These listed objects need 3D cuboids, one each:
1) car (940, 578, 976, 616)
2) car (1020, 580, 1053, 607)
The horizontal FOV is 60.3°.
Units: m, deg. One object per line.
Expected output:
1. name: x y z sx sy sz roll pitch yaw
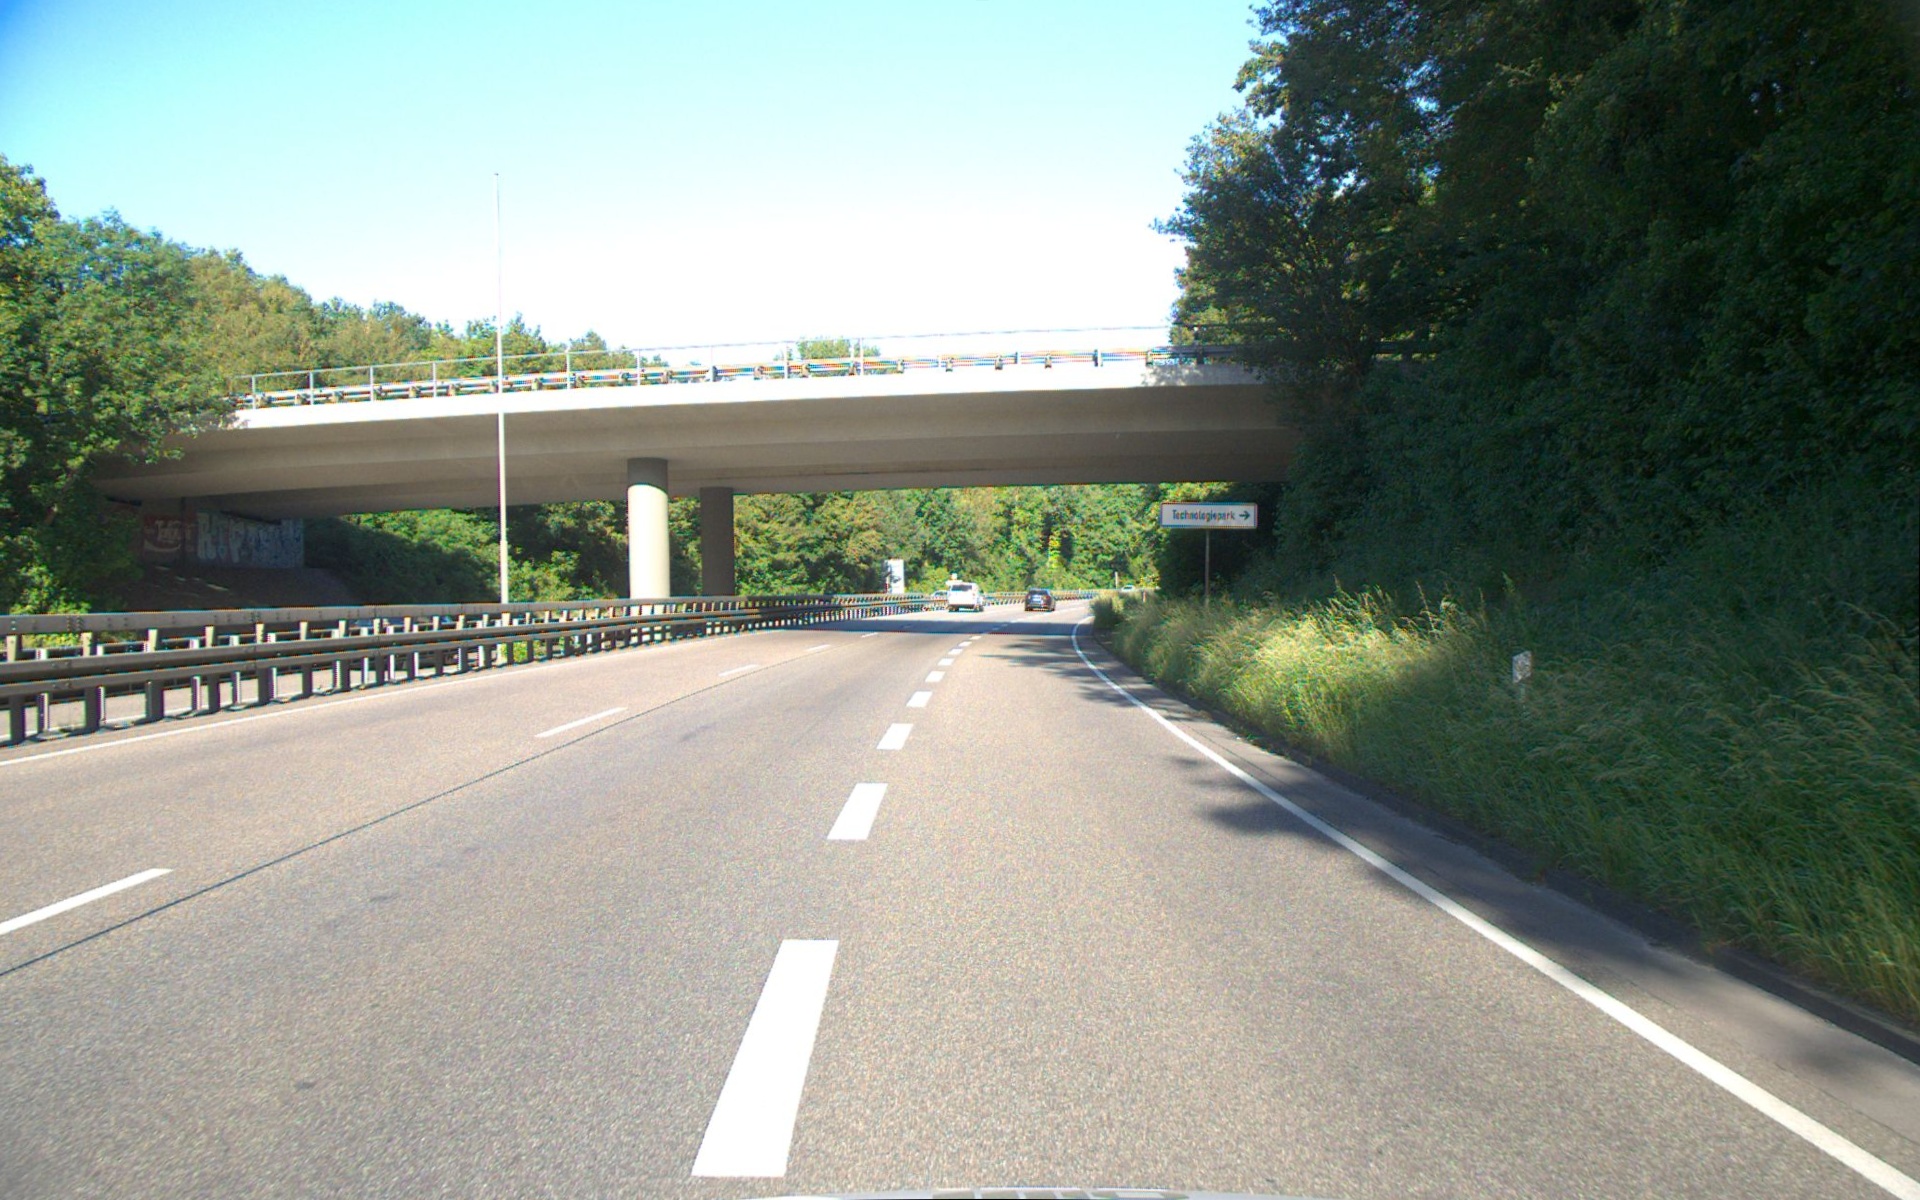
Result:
1. car: -0.119 -0.199 102.309 1.952 2.317 4.002 -1 0 4
2. car: 5.072 -0.433 109.166 1.702 1.691 3.949 -1 0 9
